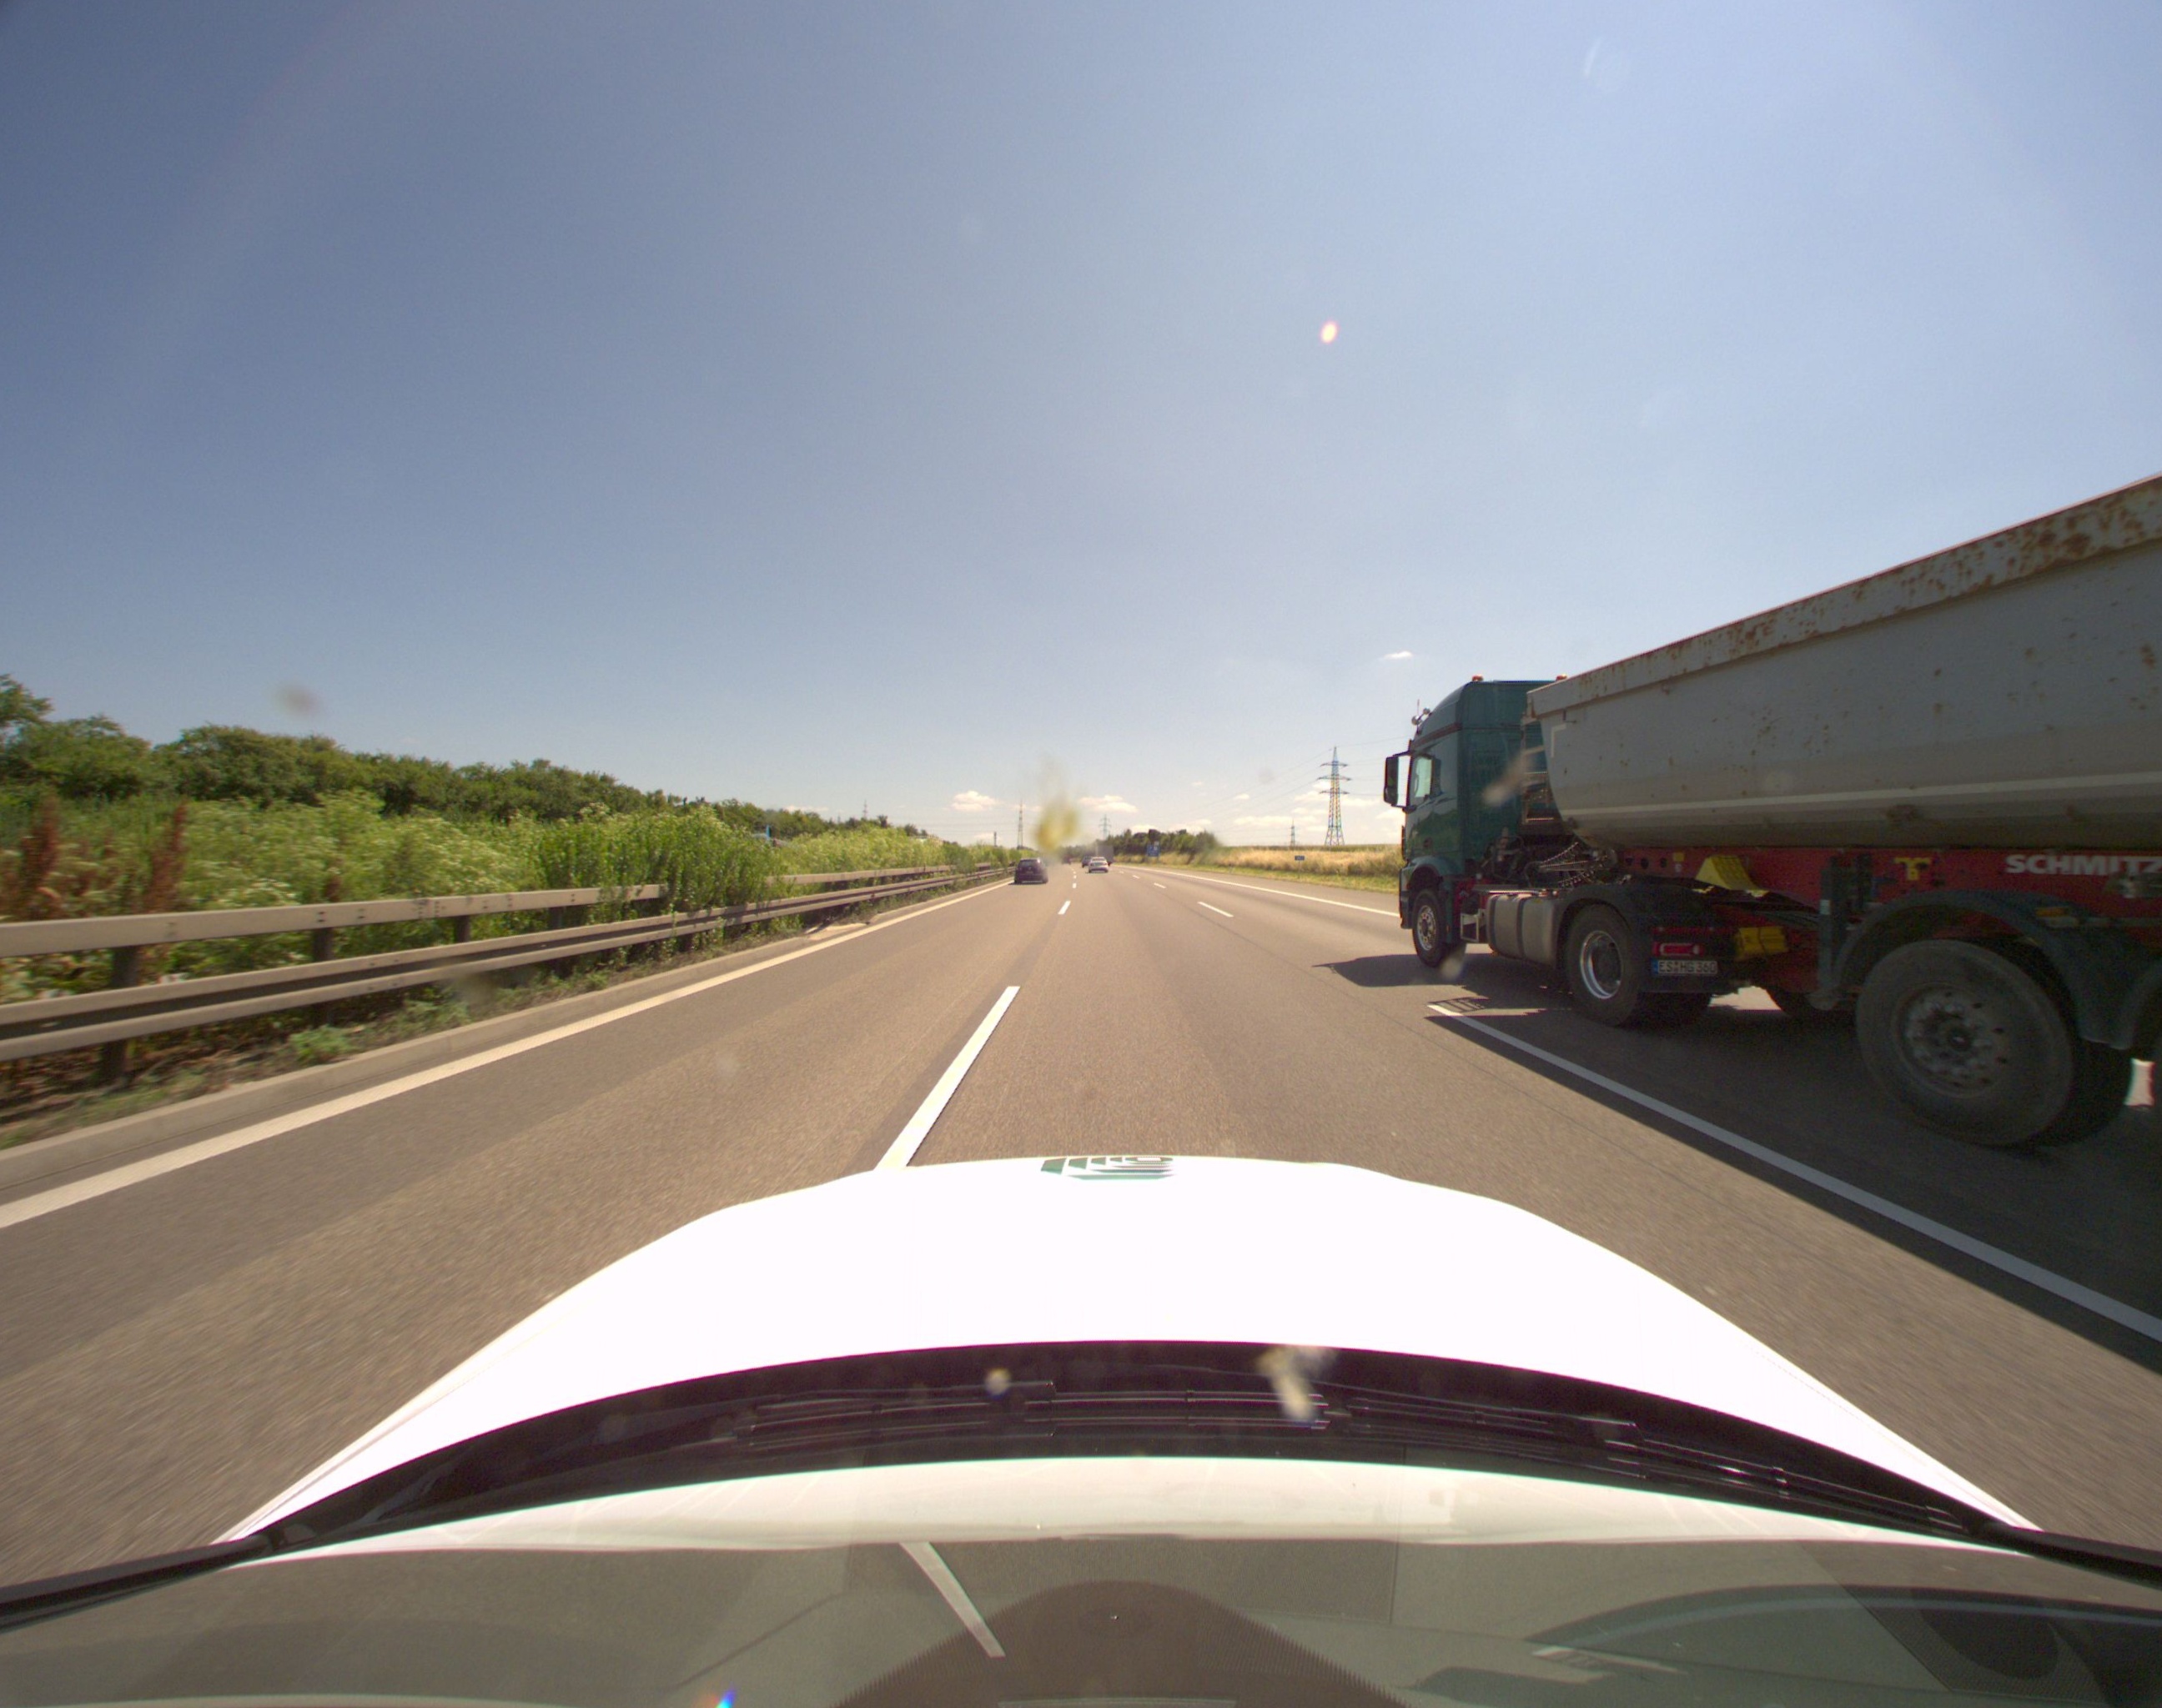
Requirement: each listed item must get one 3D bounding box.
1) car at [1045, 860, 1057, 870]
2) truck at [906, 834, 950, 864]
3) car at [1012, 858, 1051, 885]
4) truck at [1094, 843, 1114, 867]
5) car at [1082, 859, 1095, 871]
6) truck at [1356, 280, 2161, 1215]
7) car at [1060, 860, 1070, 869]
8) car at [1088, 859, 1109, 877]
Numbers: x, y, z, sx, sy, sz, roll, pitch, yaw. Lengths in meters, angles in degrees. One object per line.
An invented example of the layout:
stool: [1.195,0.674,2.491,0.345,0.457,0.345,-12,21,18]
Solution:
car: [-5.782,2.131,157.535,1.986,1.860,4.001,-1,0,1]
truck: [-19.858,-0.560,106.771,2.666,3.518,17.033,-1,0,0]
car: [-2.776,0.968,46.439,1.749,1.429,4.003,-1,0,3]
truck: [3.914,0.246,139.301,3.210,3.924,9.061,0,-1,1]
car: [1.087,1.569,115.955,1.832,1.541,3.914,-1,0,1]
truck: [5.791,-0.414,6.758,2.855,3.724,12.764,-1,0,1]
car: [-3.412,2.219,172.844,1.897,1.926,3.995,-1,0,-3]
car: [1.594,1.275,75.767,1.814,1.541,3.913,-1,0,0]
